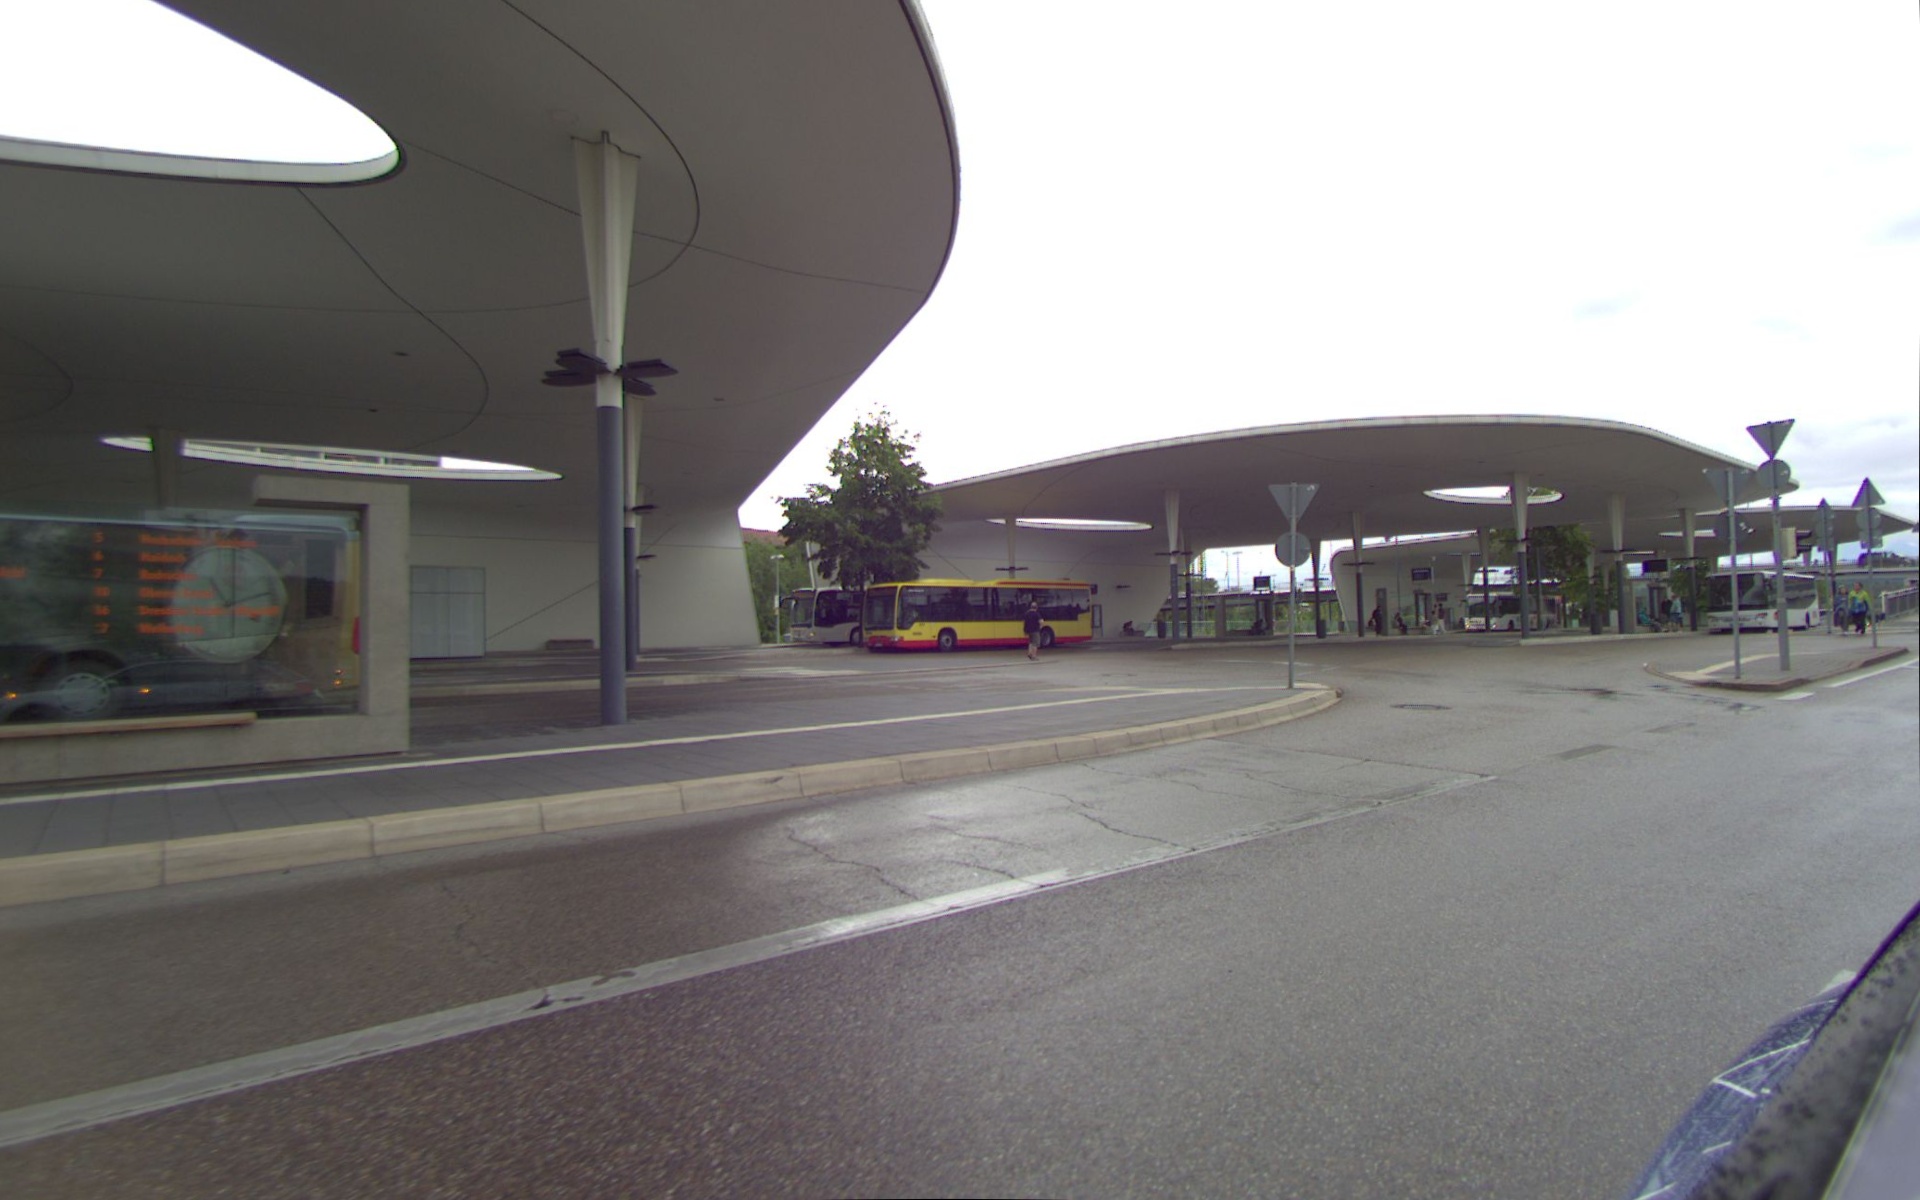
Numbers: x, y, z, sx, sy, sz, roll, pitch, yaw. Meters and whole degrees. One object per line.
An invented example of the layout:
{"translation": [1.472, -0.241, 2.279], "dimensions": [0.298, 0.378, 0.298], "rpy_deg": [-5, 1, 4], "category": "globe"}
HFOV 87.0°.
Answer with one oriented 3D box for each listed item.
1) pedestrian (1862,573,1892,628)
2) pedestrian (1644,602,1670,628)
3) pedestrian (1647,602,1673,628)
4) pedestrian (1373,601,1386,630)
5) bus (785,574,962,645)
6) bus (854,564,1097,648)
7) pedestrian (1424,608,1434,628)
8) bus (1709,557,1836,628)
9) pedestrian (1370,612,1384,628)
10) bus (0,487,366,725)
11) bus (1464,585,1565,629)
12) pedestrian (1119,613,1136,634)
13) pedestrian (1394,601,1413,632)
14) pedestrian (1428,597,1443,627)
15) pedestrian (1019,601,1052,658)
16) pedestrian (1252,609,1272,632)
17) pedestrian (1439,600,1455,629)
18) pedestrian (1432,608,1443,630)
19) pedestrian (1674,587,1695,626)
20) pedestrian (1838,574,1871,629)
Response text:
{"translation": [29.168, 0.021, 32.187], "dimensions": [0.570, 1.691, 0.523], "rpy_deg": [-3, -1, -40], "category": "pedestrian"}
{"translation": [34.613, 0.748, 50.249], "dimensions": [0.944, 1.271, 0.642], "rpy_deg": [1, -1, 28], "category": "pedestrian"}
{"translation": [34.299, 0.740, 49.599], "dimensions": [0.944, 1.271, 0.642], "rpy_deg": [1, -1, 28], "category": "pedestrian"}
{"translation": [22.181, 0.809, 53.470], "dimensions": [0.513, 1.521, 0.380], "rpy_deg": [-1, -1, 11], "category": "pedestrian"}
{"translation": [-4.398, 0.447, 53.561], "dimensions": [9.685, 3.443, 2.519], "rpy_deg": [0, -1, -41], "category": "bus"}
{"translation": [1.016, 0.182, 44.953], "dimensions": [11.930, 3.299, 2.792], "rpy_deg": [-1, -1, -41], "category": "bus"}
{"translation": [25.864, 0.972, 55.795], "dimensions": [0.345, 1.095, 0.392], "rpy_deg": [-1, -1, 2], "category": "pedestrian"}
{"translation": [43.116, -0.394, 53.502], "dimensions": [12.204, 3.404, 2.850], "rpy_deg": [0, 0, -40], "category": "bus"}
{"translation": [38.281, 1.826, 92.964], "dimensions": [0.698, 1.341, 0.801], "rpy_deg": [-4, -2, -34], "category": "pedestrian"}
{"translation": [-14.665, 0.093, 13.021], "dimensions": [11.872, 3.082, 2.727], "rpy_deg": [0, -1, -39], "category": "bus"}
{"translation": [44.599, 0.479, 81.130], "dimensions": [11.925, 3.299, 2.793], "rpy_deg": [-1, -1, -40], "category": "bus"}
{"translation": [11.792, 1.666, 71.139], "dimensions": [0.787, 1.341, 0.711], "rpy_deg": [-4, -2, -36], "category": "pedestrian"}
{"translation": [23.911, 0.897, 54.576], "dimensions": [0.667, 1.610, 0.588], "rpy_deg": [-4, -3, -43], "category": "pedestrian"}
{"translation": [26.781, 0.693, 57.017], "dimensions": [0.546, 1.676, 0.571], "rpy_deg": [0, -1, -33], "category": "pedestrian"}
{"translation": [2.309, 0.875, 30.916], "dimensions": [0.712, 1.705, 1.012], "rpy_deg": [0, 0, 25], "category": "pedestrian"}
{"translation": [18.686, 1.281, 62.533], "dimensions": [0.786, 1.341, 0.711], "rpy_deg": [-5, -2, -32], "category": "pedestrian"}
{"translation": [27.772, 0.830, 57.730], "dimensions": [0.633, 1.676, 0.637], "rpy_deg": [-1, -1, 11], "category": "pedestrian"}
{"translation": [26.253, 1.040, 55.640], "dimensions": [0.357, 1.160, 0.395], "rpy_deg": [-1, -1, 2], "category": "pedestrian"}
{"translation": [35.274, 0.318, 49.271], "dimensions": [0.636, 1.911, 0.587], "rpy_deg": [2, -1, -29], "category": "pedestrian"}
{"translation": [28.860, 0.038, 32.654], "dimensions": [0.570, 1.691, 0.590], "rpy_deg": [-5, -1, -40], "category": "pedestrian"}
